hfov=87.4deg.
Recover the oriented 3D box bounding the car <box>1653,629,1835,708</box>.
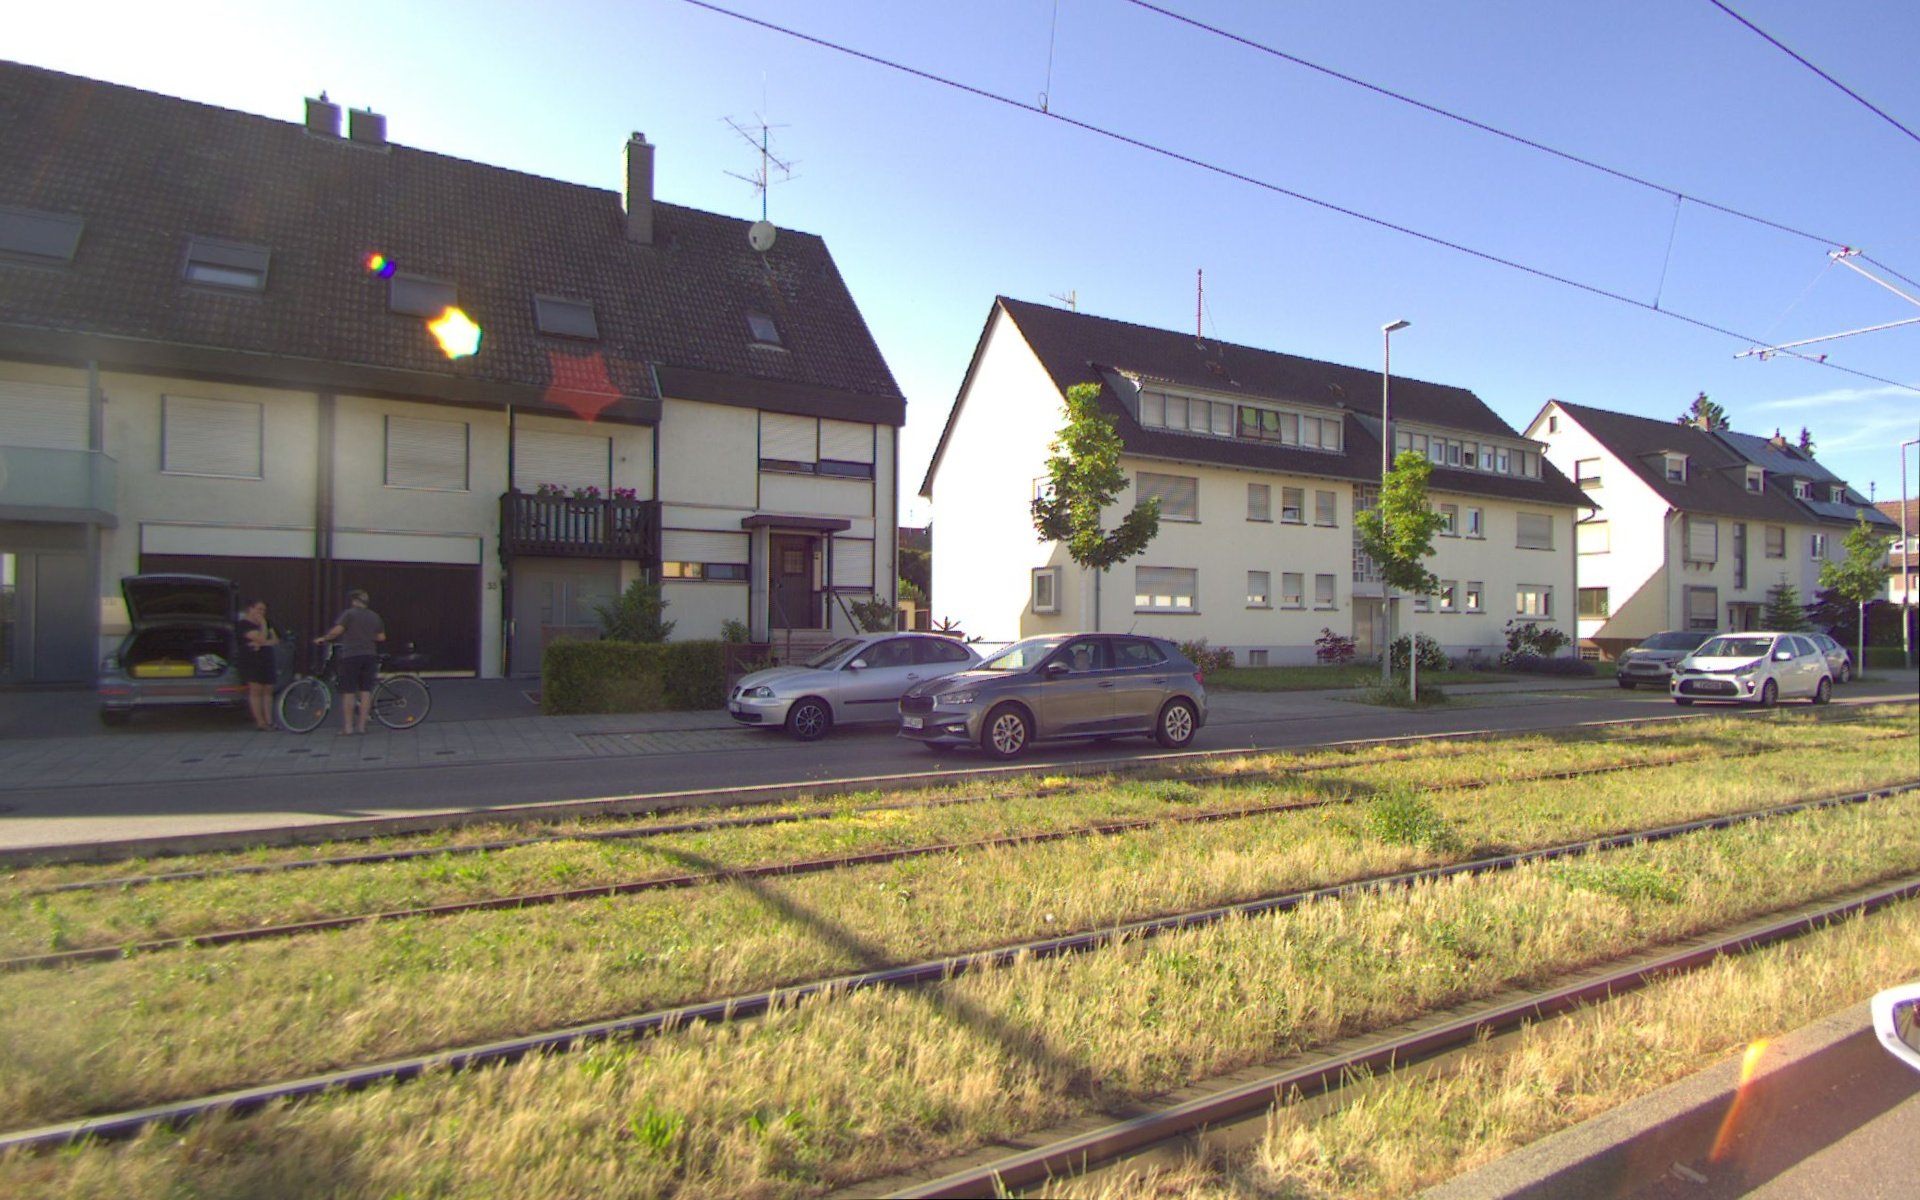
[{"bbox_3d":[16.035,1.377,20.526,3.637,1.494,1.681,2,-4,-30],"label":"car"}]

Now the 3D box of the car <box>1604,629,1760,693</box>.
[{"bbox_3d":[18.612,1.534,25.845,4.264,1.492,1.680,2,0,-30],"label":"car"}]

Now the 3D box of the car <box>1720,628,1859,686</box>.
[{"bbox_3d":[23.773,1.594,28.755,4.391,1.495,1.680,2,0,-30],"label":"car"}]

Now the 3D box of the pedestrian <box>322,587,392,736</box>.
[{"bbox_3d":[-7.716,0.761,12.841,0.672,1.839,0.610,1,0,-38],"label":"pedestrian"}]

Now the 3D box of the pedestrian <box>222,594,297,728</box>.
[{"bbox_3d":[-9.182,0.791,13.180,0.613,1.710,0.552,1,0,-14],"label":"pedestrian"}]

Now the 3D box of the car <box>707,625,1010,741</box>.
[{"bbox_3d":[-1.419,1.112,14.538,4.055,1.455,1.650,1,-1,-30],"label":"car"}]

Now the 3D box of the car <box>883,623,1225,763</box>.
[{"bbox_3d":[1.212,1.079,12.463,4.035,1.494,1.681,2,-3,-30],"label":"car"}]

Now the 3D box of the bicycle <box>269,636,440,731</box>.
[{"bbox_3d":[-7.903,1.077,13.189,1.845,1.178,0.476,1,0,-24],"label":"bicycle"}]

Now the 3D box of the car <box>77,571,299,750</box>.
[{"bbox_3d":[-10.903,0.695,14.532,1.765,2.108,4.442,1,2,-28],"label":"car"}]

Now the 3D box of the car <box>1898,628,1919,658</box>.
[{"bbox_3d":[49.226,2.193,49.867,1.674,1.481,3.611,1,0,-33],"label":"car"}]
